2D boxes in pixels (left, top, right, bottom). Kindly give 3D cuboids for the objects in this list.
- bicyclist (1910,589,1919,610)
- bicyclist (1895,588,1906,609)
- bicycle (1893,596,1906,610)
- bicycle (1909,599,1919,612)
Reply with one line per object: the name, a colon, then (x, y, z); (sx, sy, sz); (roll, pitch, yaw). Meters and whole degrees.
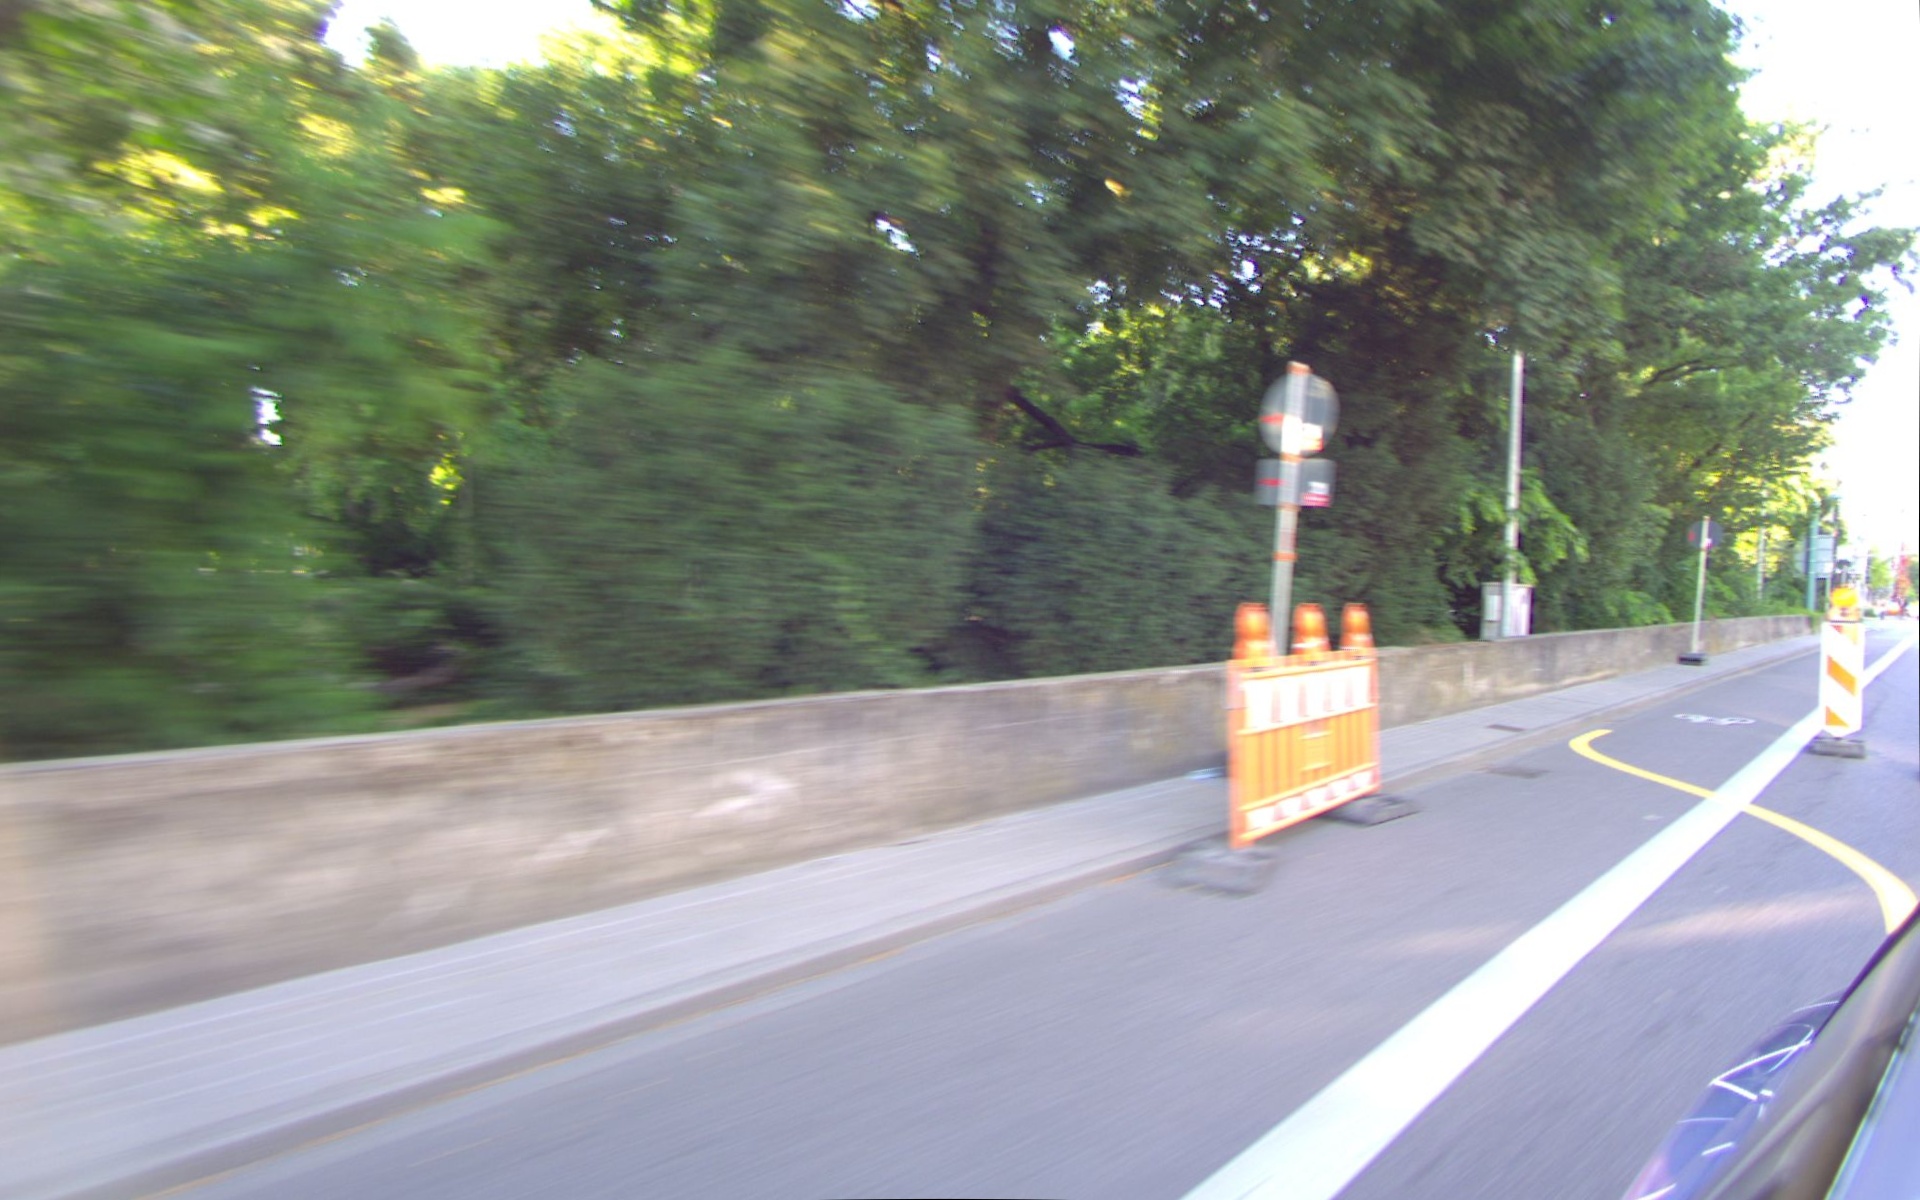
bicyclist: (80.332, -0.057, 85.017); (0.755, 1.723, 0.704); (2, -1, -42)
bicyclist: (79.704, -0.142, 85.786); (0.755, 1.721, 0.510); (-1, 5, -41)
bicycle: (79.617, 0.249, 85.757); (2.012, 1.063, 0.528); (-1, 6, -42)
bicycle: (80.384, 0.456, 85.078); (2.009, 1.064, 0.720); (-2, 1, -42)
